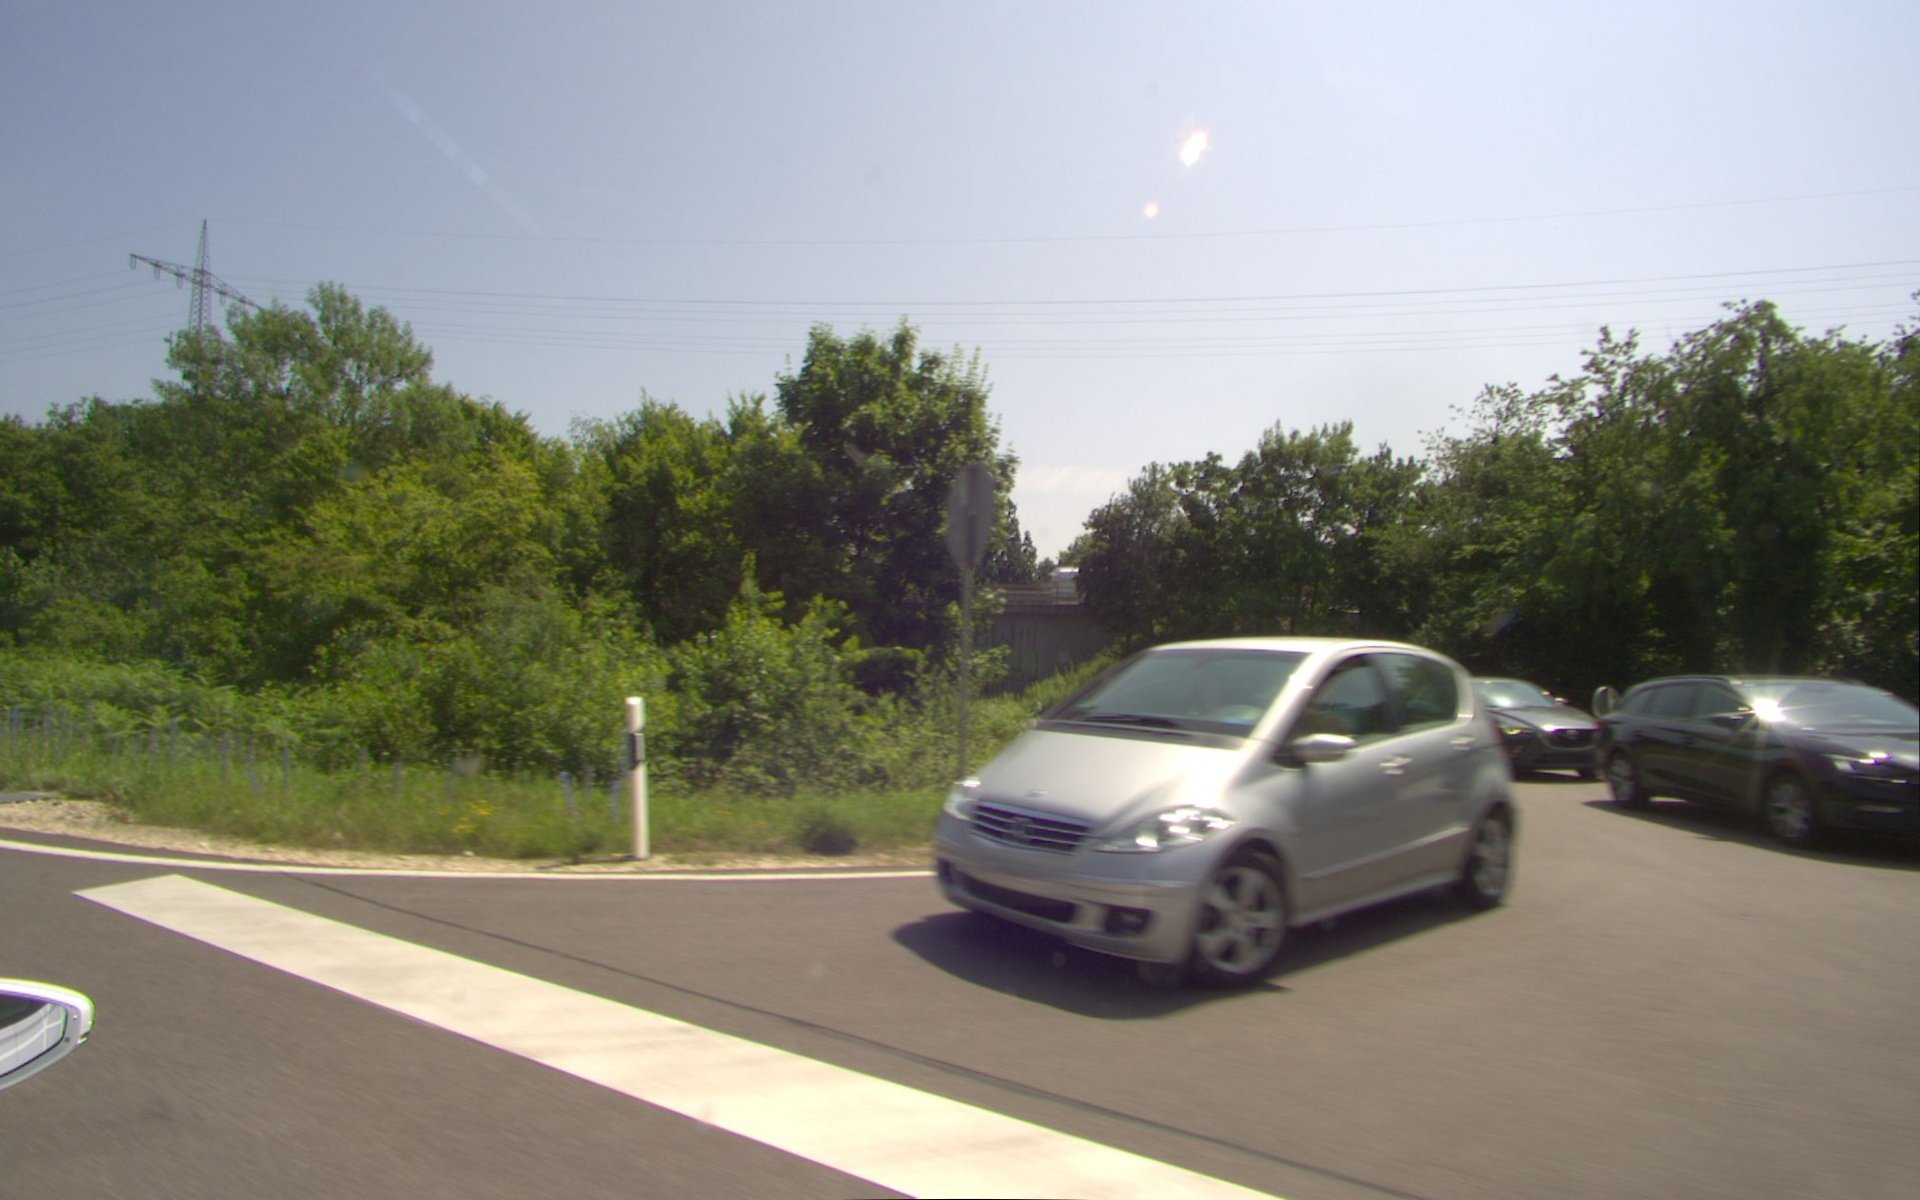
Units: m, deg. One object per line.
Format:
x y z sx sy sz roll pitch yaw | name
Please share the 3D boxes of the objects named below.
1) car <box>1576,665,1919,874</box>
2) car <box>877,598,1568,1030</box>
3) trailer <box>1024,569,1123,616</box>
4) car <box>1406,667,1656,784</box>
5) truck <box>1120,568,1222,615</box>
7.922 1.442 9.400 1.832 1.491 4.570 0 -5 6 | car
1.669 0.961 5.714 3.951 1.598 1.832 4 -6 -39 | car
7.245 -0.428 64.192 6.155 2.855 2.246 -1 -1 7 | trailer
8.843 1.946 15.976 1.776 1.616 4.104 0 -6 3 | car
13.295 -0.486 63.453 6.155 2.855 2.246 -1 -1 7 | truck
